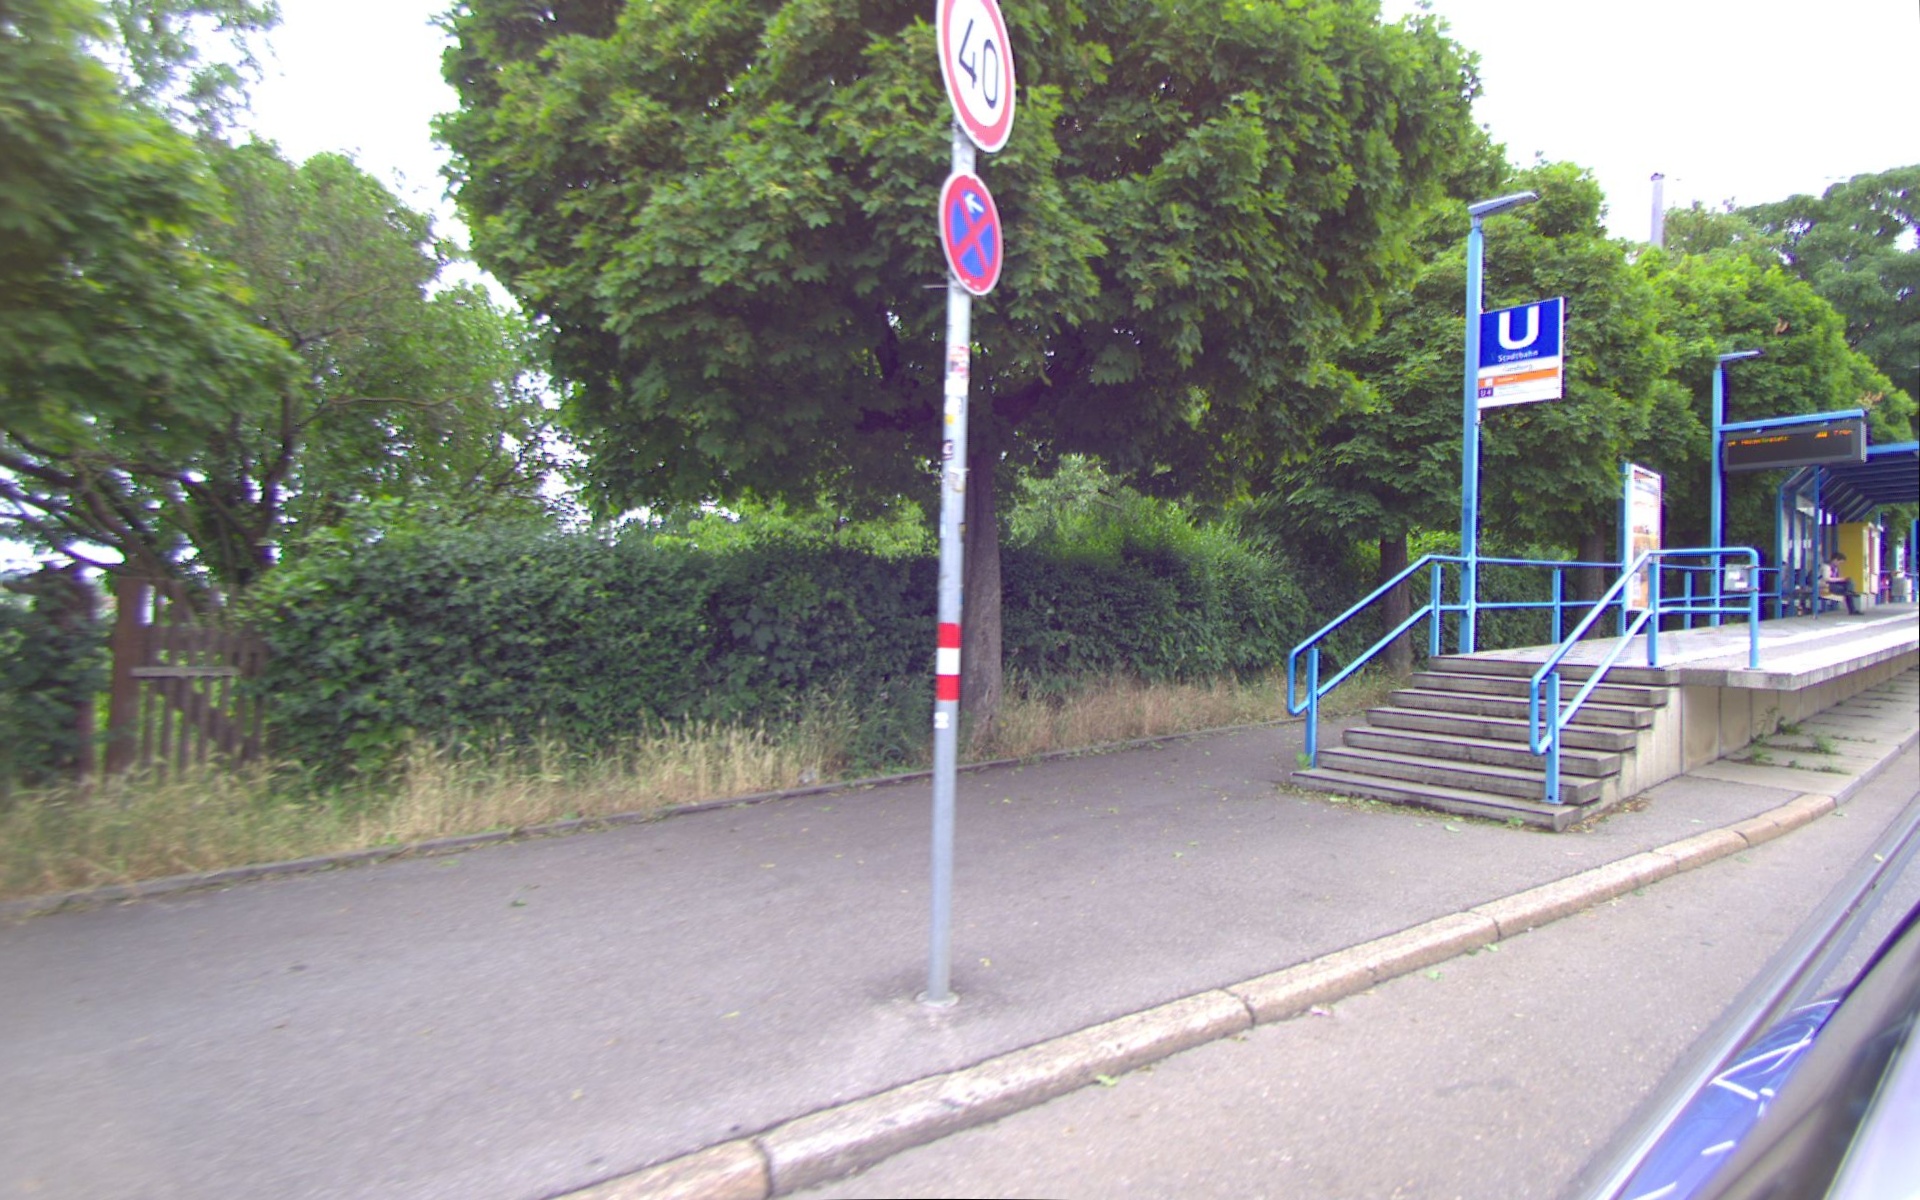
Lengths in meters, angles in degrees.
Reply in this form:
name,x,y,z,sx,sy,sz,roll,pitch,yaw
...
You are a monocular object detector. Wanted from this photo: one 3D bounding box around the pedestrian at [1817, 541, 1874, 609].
name,x,y,z,sx,sy,sz,roll,pitch,yaw
pedestrian,17.744,-0.500,20.287,0.645,1.331,0.780,-1,0,-40
